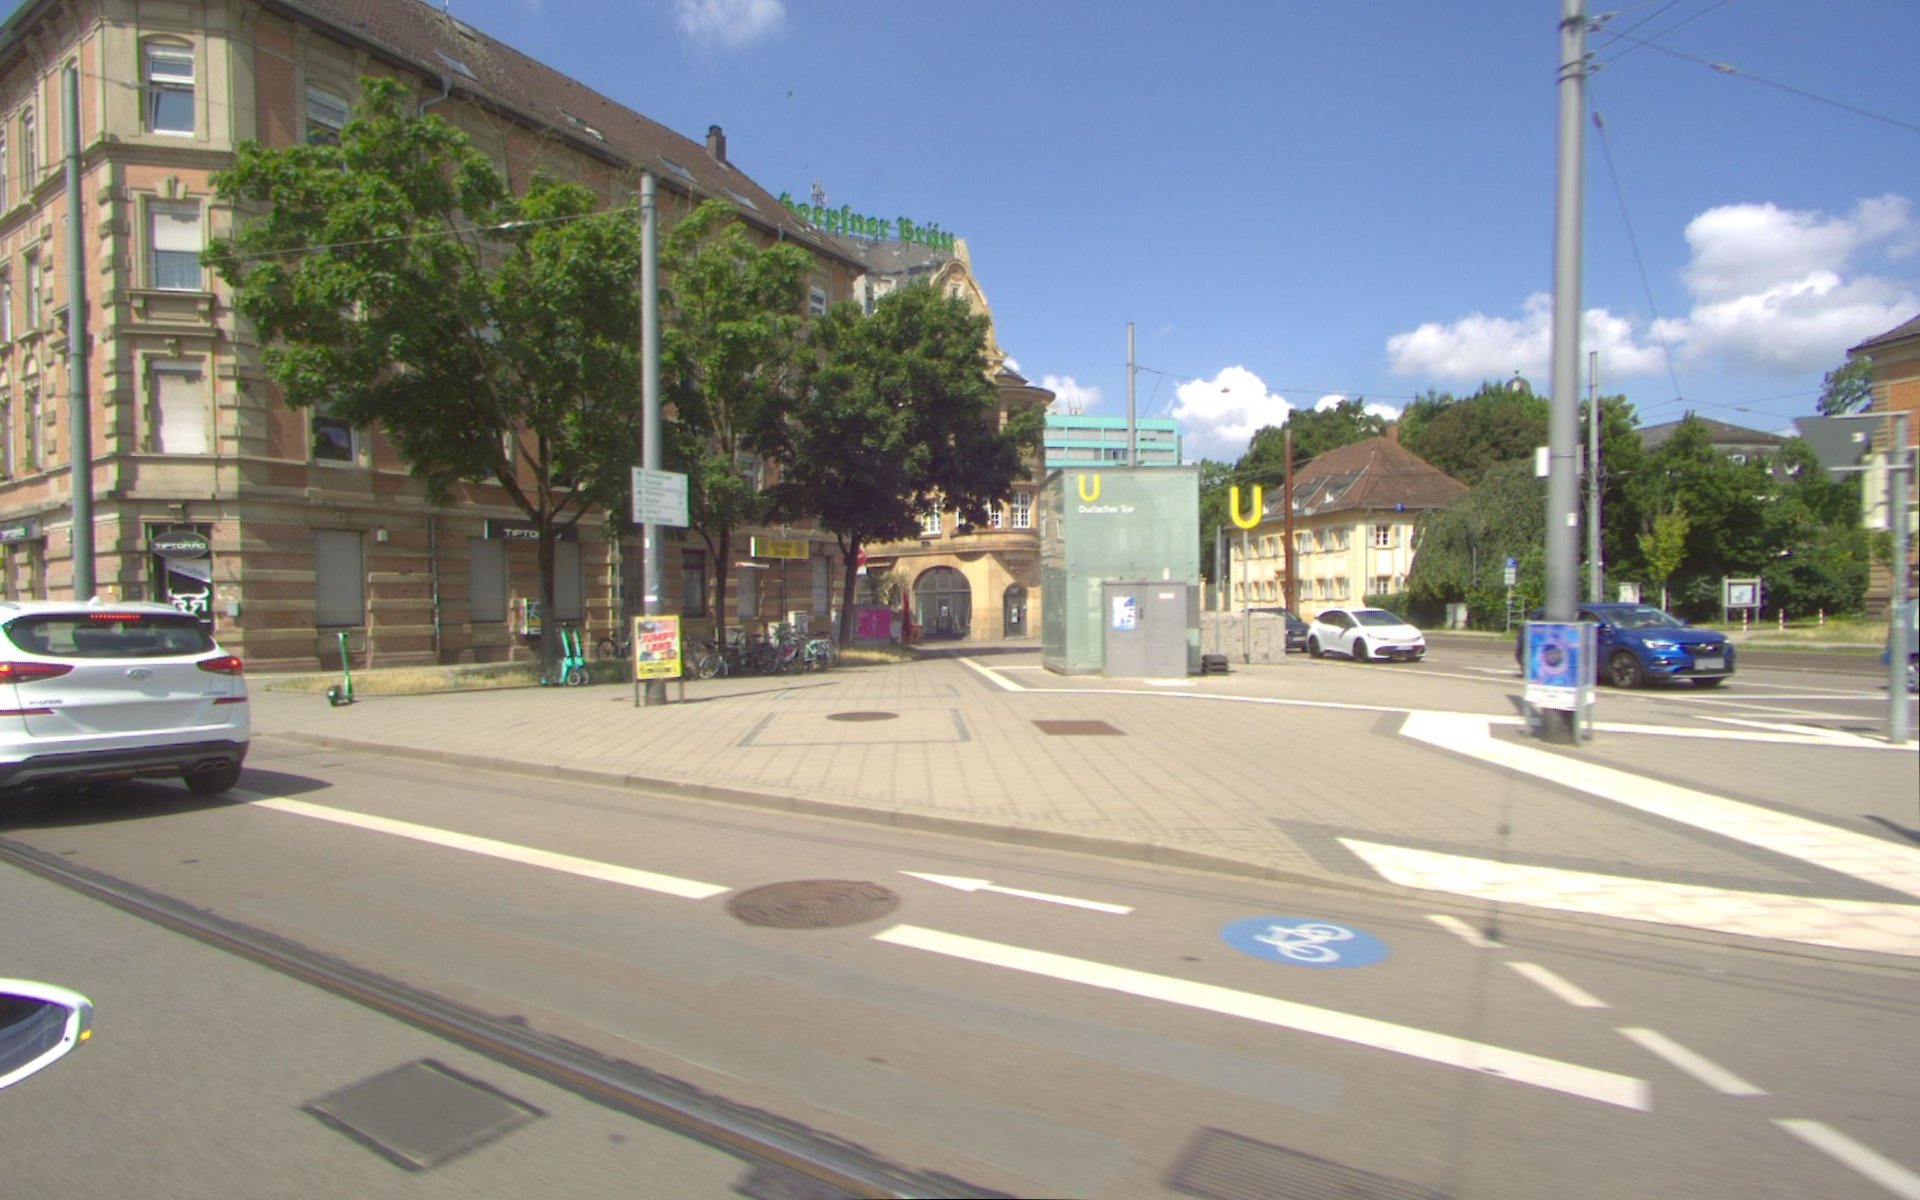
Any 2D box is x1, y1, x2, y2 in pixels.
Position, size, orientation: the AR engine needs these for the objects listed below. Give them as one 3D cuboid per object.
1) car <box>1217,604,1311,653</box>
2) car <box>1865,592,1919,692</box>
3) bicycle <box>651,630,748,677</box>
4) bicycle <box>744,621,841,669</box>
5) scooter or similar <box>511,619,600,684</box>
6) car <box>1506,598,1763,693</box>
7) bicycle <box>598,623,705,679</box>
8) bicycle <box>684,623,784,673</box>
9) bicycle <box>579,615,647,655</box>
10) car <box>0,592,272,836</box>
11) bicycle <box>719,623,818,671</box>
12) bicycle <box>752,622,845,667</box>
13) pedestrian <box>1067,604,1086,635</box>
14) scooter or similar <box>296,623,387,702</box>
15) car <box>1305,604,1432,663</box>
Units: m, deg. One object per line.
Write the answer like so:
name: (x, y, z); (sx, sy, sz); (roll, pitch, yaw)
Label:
car: (10.832, 0.978, 36.035); (1.838, 1.608, 4.426); (-1, 0, -3)
car: (16.571, 0.662, 14.982); (1.838, 1.608, 4.425); (-1, 0, -5)
bicycle: (-5.804, 1.165, 22.223); (2.257, 0.892, 0.839); (1, 2, 36)
bicycle: (-4.169, 1.088, 24.741); (2.540, 1.105, 0.789); (-1, 1, 36)
scooter or similar: (-7.986, 1.000, 19.771); (1.368, 1.219, 0.947); (-1, 1, 27)
car: (13.046, 0.812, 19.781); (1.838, 1.571, 4.426); (-3, 0, -4)
bicycle: (-6.602, 1.061, 21.410); (2.234, 1.096, 1.021); (-1, 1, 36)
bicycle: (-5.300, 1.091, 23.380); (2.540, 1.084, 0.789); (-1, 1, 36)
bicycle: (-9.759, 0.974, 28.182); (0.755, 1.064, 1.638); (0, 0, 41)
car: (-7.906, 0.784, 8.505); (4.119, 1.656, 1.849); (0, 0, 31)
bicycle: (-4.597, 1.106, 23.955); (2.540, 1.068, 0.789); (-1, 1, 36)
bicycle: (-4.179, 1.134, 25.803); (2.540, 1.068, 0.789); (-1, 1, 36)
pedestrian: (6.017, 1.013, 51.785); (0.880, 1.580, 0.864); (0, 1, 4)
scooter or similar: (-10.071, 0.987, 16.311); (1.073, 1.195, 0.943); (-1, 1, 39)
car: (11.816, 0.913, 29.261); (1.902, 1.586, 3.995); (-1, 0, -3)
